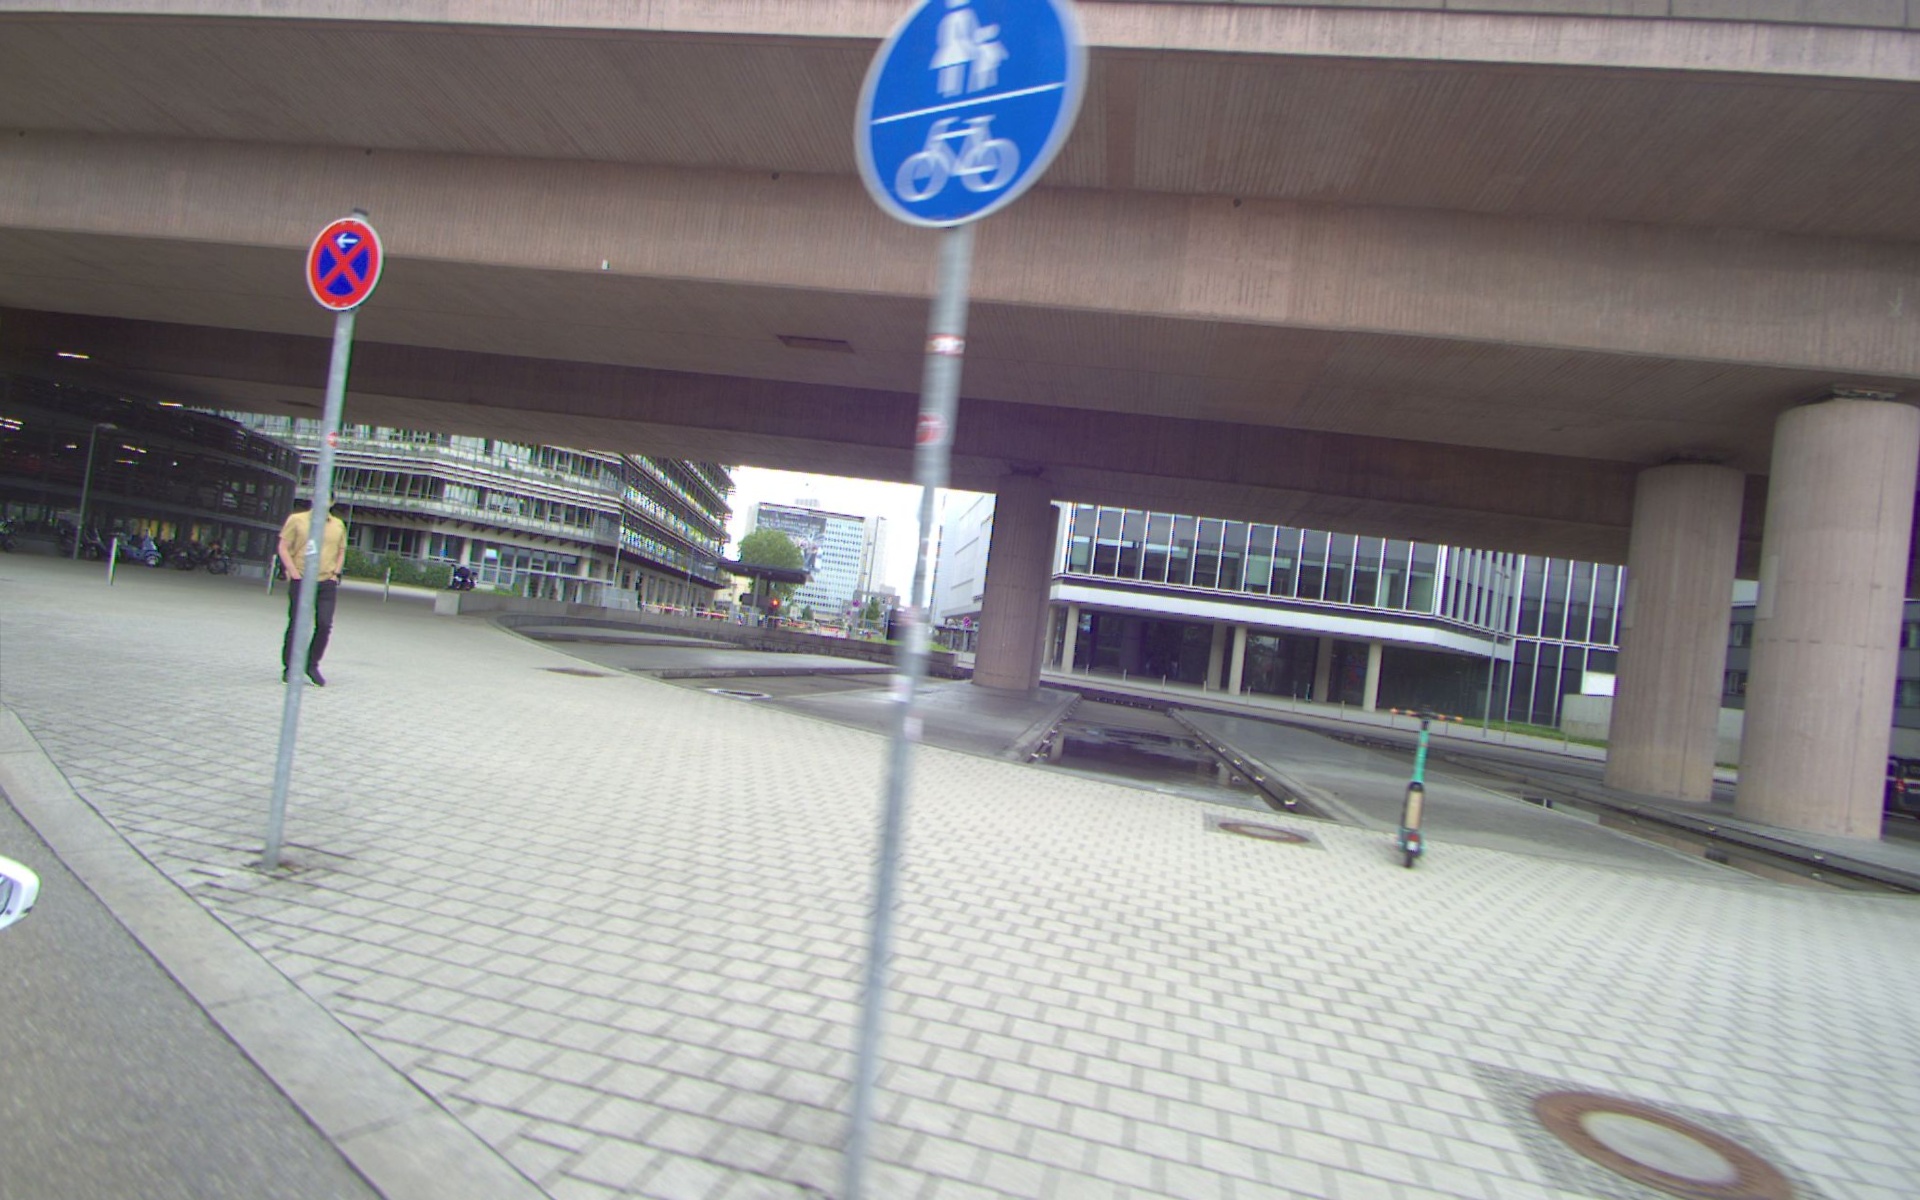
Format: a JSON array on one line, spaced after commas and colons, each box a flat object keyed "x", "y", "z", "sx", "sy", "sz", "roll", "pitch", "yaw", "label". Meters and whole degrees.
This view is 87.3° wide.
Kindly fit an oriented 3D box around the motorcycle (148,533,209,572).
[{"x": -30.991, "y": -1.877, "z": 39.893, "sx": 2.039, "sy": 1.234, "sz": 0.675, "roll": 8, "pitch": -1, "yaw": 14, "label": "motorcycle"}]

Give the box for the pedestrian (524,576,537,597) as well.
[{"x": -32.413, "y": -1.018, "z": 75.859, "sx": 0.488, "sy": 1.498, "sz": 0.544, "roll": 8, "pitch": -1, "yaw": 28, "label": "pedestrian"}]

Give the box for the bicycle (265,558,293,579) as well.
[{"x": -32.875, "y": -1.530, "z": 48.593, "sx": 0.468, "sy": 0.906, "sz": 1.502, "roll": 9, "pitch": -1, "yaw": -12, "label": "bicycle"}]

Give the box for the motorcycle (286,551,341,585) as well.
[{"x": -30.830, "y": -1.539, "z": 47.993, "sx": 2.318, "sy": 1.234, "sz": 0.675, "roll": 8, "pitch": -1, "yaw": 14, "label": "motorcycle"}]

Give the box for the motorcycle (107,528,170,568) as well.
[{"x": -31.665, "y": -2.007, "z": 38.799, "sx": 2.039, "sy": 1.234, "sz": 0.675, "roll": 8, "pitch": -1, "yaw": 14, "label": "motorcycle"}]

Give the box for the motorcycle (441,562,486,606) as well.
[{"x": -15.598, "y": -0.482, "z": 31.661, "sx": 0.539, "sy": 1.279, "sz": 1.939, "roll": 8, "pitch": -1, "yaw": -8, "label": "motorcycle"}]

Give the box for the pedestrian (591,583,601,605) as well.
[{"x": -27.036, "y": -0.451, "z": 74.772, "sx": 0.489, "sy": 1.498, "sz": 0.542, "roll": 8, "pitch": 0, "yaw": -18, "label": "pedestrian"}]

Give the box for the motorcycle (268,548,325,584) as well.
[{"x": -30.758, "y": -1.567, "z": 46.612, "sx": 2.318, "sy": 1.290, "sz": 0.675, "roll": 8, "pitch": -1, "yaw": 14, "label": "motorcycle"}]

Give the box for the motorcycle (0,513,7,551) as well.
[{"x": -32.983, "y": -2.379, "z": 34.163, "sx": 1.131, "sy": 1.234, "sz": 0.521, "roll": 8, "pitch": -1, "yaw": 31, "label": "motorcycle"}]

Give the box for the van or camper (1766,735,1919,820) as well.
[{"x": 28.802, "y": 5.659, "z": 32.085, "sx": 2.114, "sy": 1.914, "sz": 4.904, "roll": 9, "pitch": -2, "yaw": 1, "label": "van or camper"}]

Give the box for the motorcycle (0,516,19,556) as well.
[{"x": -30.112, "y": -2.029, "z": 31.659, "sx": 0.518, "sy": 1.184, "sz": 1.138, "roll": 9, "pitch": -4, "yaw": -40, "label": "motorcycle"}]

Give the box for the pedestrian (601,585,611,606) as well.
[{"x": -26.496, "y": -0.347, "z": 75.391, "sx": 0.489, "sy": 1.498, "sz": 0.542, "roll": 8, "pitch": 0, "yaw": -18, "label": "pedestrian"}]

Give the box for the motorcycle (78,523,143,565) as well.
[{"x": -31.814, "y": -2.087, "z": 37.672, "sx": 2.039, "sy": 1.234, "sz": 0.675, "roll": 8, "pitch": -1, "yaw": 14, "label": "motorcycle"}]

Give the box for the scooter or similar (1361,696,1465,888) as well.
[{"x": 3.715, "y": 1.479, "z": 8.174, "sx": 0.509, "sy": 1.311, "sz": 1.647, "roll": 8, "pitch": 0, "yaw": 28, "label": "scooter or similar"}]

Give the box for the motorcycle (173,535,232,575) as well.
[{"x": -30.874, "y": -1.837, "z": 40.996, "sx": 2.039, "sy": 1.301, "sz": 0.675, "roll": 8, "pitch": -1, "yaw": 14, "label": "motorcycle"}]

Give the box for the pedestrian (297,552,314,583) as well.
[{"x": -45.090, "y": -2.234, "z": 69.333, "sx": 0.563, "sy": 2.036, "sz": 0.529, "roll": 7, "pitch": -2, "yaw": 22, "label": "pedestrian"}]

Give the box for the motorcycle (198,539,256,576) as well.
[{"x": -30.647, "y": -1.782, "z": 42.047, "sx": 2.039, "sy": 1.234, "sz": 0.675, "roll": 8, "pitch": -1, "yaw": 14, "label": "motorcycle"}]

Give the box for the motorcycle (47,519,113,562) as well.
[{"x": -32.123, "y": -2.165, "z": 36.724, "sx": 2.039, "sy": 1.234, "sz": 0.675, "roll": 8, "pitch": -1, "yaw": 14, "label": "motorcycle"}]

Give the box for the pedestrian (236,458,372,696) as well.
[{"x": -6.162, "y": -0.212, "z": 9.442, "sx": 0.778, "sy": 2.037, "sz": 1.029, "roll": 9, "pitch": -1, "yaw": -36, "label": "pedestrian"}]
